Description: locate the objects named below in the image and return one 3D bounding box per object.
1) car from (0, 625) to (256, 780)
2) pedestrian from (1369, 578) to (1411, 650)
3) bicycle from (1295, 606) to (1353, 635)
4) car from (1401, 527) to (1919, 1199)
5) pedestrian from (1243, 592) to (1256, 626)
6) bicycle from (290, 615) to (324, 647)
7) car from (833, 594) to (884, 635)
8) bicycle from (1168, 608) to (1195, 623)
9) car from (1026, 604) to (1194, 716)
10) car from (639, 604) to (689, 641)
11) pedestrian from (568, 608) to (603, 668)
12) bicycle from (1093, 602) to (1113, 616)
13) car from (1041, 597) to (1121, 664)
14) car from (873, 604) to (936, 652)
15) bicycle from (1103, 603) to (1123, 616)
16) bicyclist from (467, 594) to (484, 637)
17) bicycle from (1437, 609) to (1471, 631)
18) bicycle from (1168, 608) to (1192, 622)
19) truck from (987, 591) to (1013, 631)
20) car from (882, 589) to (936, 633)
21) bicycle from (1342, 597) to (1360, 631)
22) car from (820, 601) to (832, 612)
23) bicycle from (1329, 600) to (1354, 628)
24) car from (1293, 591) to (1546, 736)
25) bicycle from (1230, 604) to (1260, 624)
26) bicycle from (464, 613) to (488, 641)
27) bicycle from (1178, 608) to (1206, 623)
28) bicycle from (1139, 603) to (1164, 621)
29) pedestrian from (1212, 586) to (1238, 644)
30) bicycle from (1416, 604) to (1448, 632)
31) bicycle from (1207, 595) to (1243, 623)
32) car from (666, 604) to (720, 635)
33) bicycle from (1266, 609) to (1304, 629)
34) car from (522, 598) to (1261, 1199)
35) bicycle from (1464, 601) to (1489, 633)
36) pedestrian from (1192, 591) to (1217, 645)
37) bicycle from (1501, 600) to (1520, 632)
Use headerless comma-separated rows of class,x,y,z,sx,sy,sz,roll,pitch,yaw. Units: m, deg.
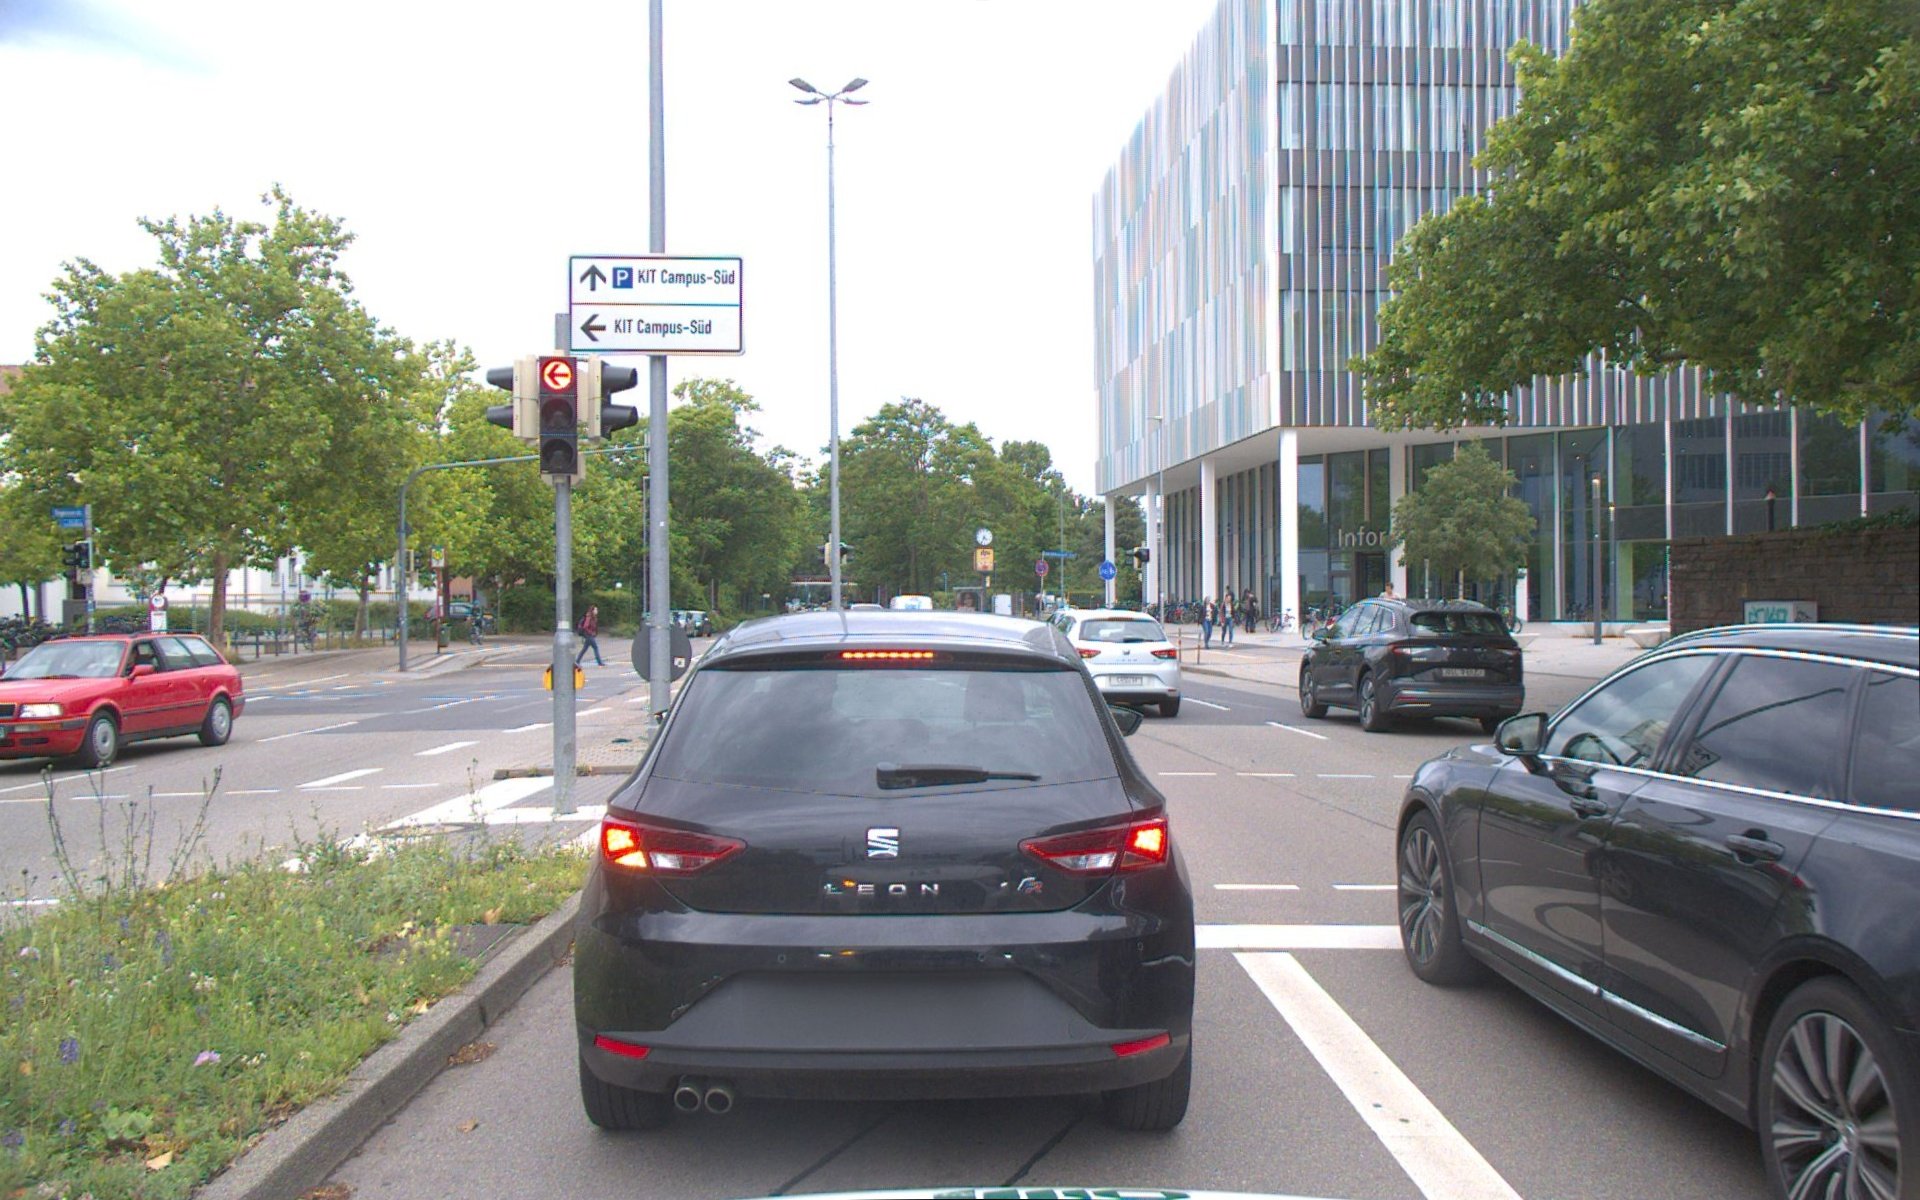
car,-9.886,1.086,18.917,1.678,1.443,4.295,-2,0,2
pedestrian,11.113,0.357,42.753,0.830,1.795,0.767,-2,0,-1
bicycle,12.417,0.695,56.363,1.860,0.914,0.693,-2,0,-22
car,2.850,0.667,4.729,1.845,1.628,4.445,0,0,-2
pedestrian,12.048,0.390,68.882,0.462,1.385,0.446,-2,0,9
bicycle,-23.355,1.095,59.206,0.596,1.079,2.041,-2,0,-7
car,-4.232,0.589,68.704,1.698,1.631,4.096,0,0,-10
bicycle,11.544,0.814,86.144,1.345,0.717,0.489,-2,0,8
car,2.095,0.807,24.140,1.747,1.488,3.866,0,0,-6
car,-15.357,1.133,86.075,1.868,1.747,3.999,-2,1,-1
pedestrian,-10.364,1.051,45.793,0.858,1.614,0.542,-2,0,-8
bicycle,9.417,0.612,109.084,1.241,0.863,0.479,2,-1,-23
car,3.021,0.787,42.000,1.787,1.578,4.527,1,-1,1
car,-1.838,0.868,53.658,1.689,1.439,4.240,1,1,-6
bicycle,9.912,0.603,106.991,1.218,0.837,0.479,2,-1,-23
bicyclist,-18.952,0.592,64.759,0.481,1.653,0.588,1,1,-1
bicycle,18.192,0.742,60.901,1.515,0.728,0.511,-3,1,-44
bicycle,11.578,0.796,87.037,1.213,0.717,0.489,-2,0,8
truck,2.389,0.647,99.406,1.291,2.282,3.401,-2,0,-1
car,-2.419,0.488,77.733,1.930,2.007,4.333,1,0,-10
bicycle,15.284,0.528,64.605,0.515,1.275,1.667,-2,0,17
car,-20.501,0.944,253.464,1.663,1.530,4.003,-2,1,-7
bicycle,15.536,0.558,67.401,0.607,1.064,1.704,-2,1,25
car,5.767,0.738,21.348,1.869,1.653,4.489,1,0,-2
bicycle,13.153,0.659,76.370,1.421,0.872,0.361,-2,0,-28
bicycle,-18.961,1.055,64.769,0.478,1.023,1.589,1,1,-1
bicycle,11.830,0.795,84.351,1.346,0.717,0.416,-2,0,2
bicycle,10.653,0.663,91.990,1.357,0.958,0.488,-1,0,6
pedestrian,8.394,0.475,52.405,0.673,1.812,0.677,0,0,-1
bicycle,17.584,0.661,61.552,0.682,0.963,1.981,-2,1,29
bicycle,12.475,0.415,77.902,1.758,1.232,0.563,-2,0,-35
car,-15.401,1.106,95.681,1.721,1.615,4.004,-2,1,12
bicycle,13.714,0.797,69.792,1.450,0.761,0.565,-2,0,-4
car,-0.112,0.737,5.758,1.717,1.457,3.770,1,0,1
bicycle,18.707,0.609,59.867,0.792,1.074,1.950,-2,1,19
pedestrian,7.713,0.565,52.216,0.673,1.668,0.632,1,0,-1
bicycle,19.613,0.574,58.955,0.609,1.074,1.950,-2,1,19
